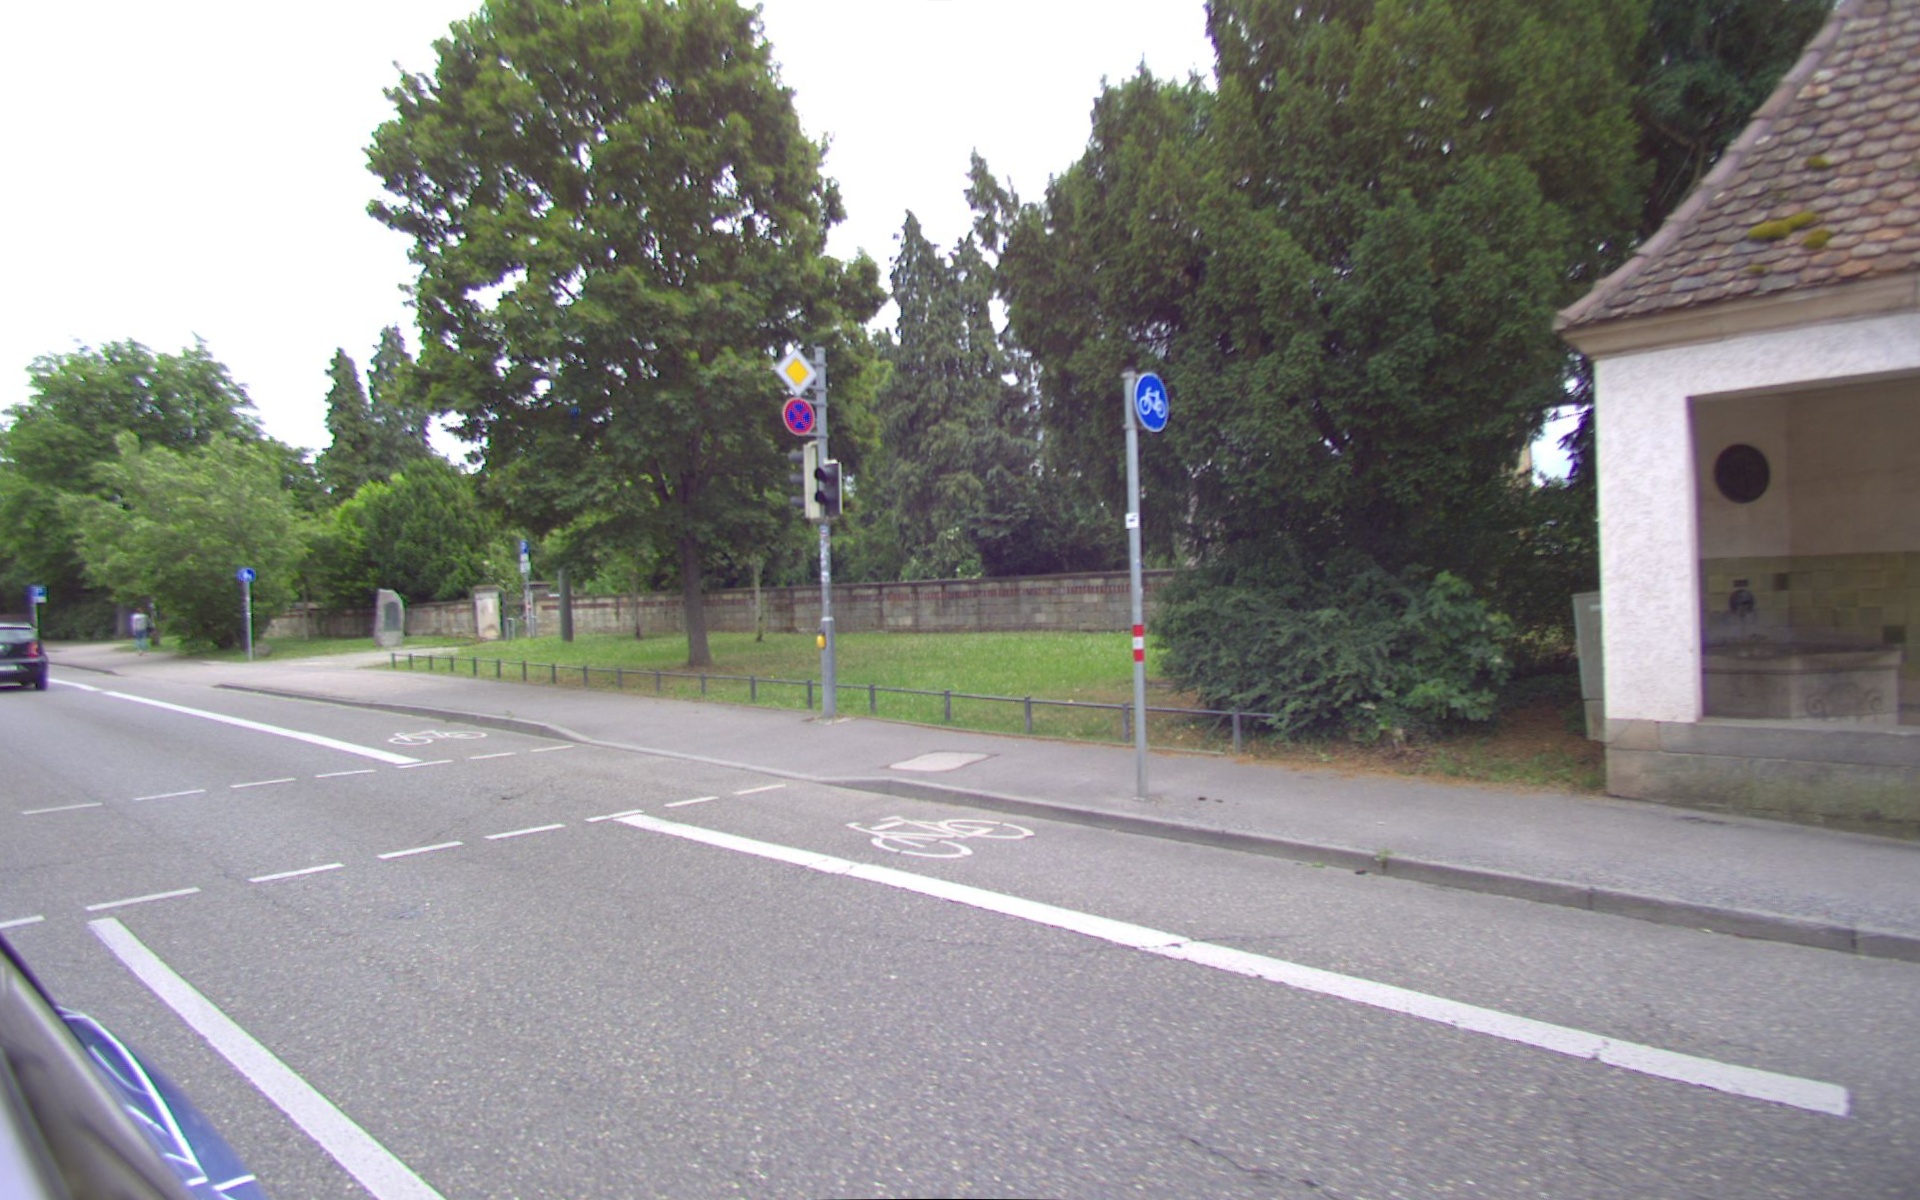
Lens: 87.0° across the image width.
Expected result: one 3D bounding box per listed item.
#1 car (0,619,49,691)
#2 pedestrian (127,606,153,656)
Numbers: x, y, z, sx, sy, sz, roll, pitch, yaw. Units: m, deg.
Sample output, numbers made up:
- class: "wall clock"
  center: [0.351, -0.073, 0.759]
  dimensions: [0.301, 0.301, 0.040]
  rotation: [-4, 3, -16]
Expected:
- class: "car"
  center: [-21.406, 1.192, 22.172]
  dimensions: [3.825, 1.459, 1.647]
  rotation: [-2, 0, 41]
- class: "pedestrian"
  center: [-30.489, 1.143, 37.635]
  dimensions: [0.784, 1.825, 0.607]
  rotation: [-3, -2, 41]
